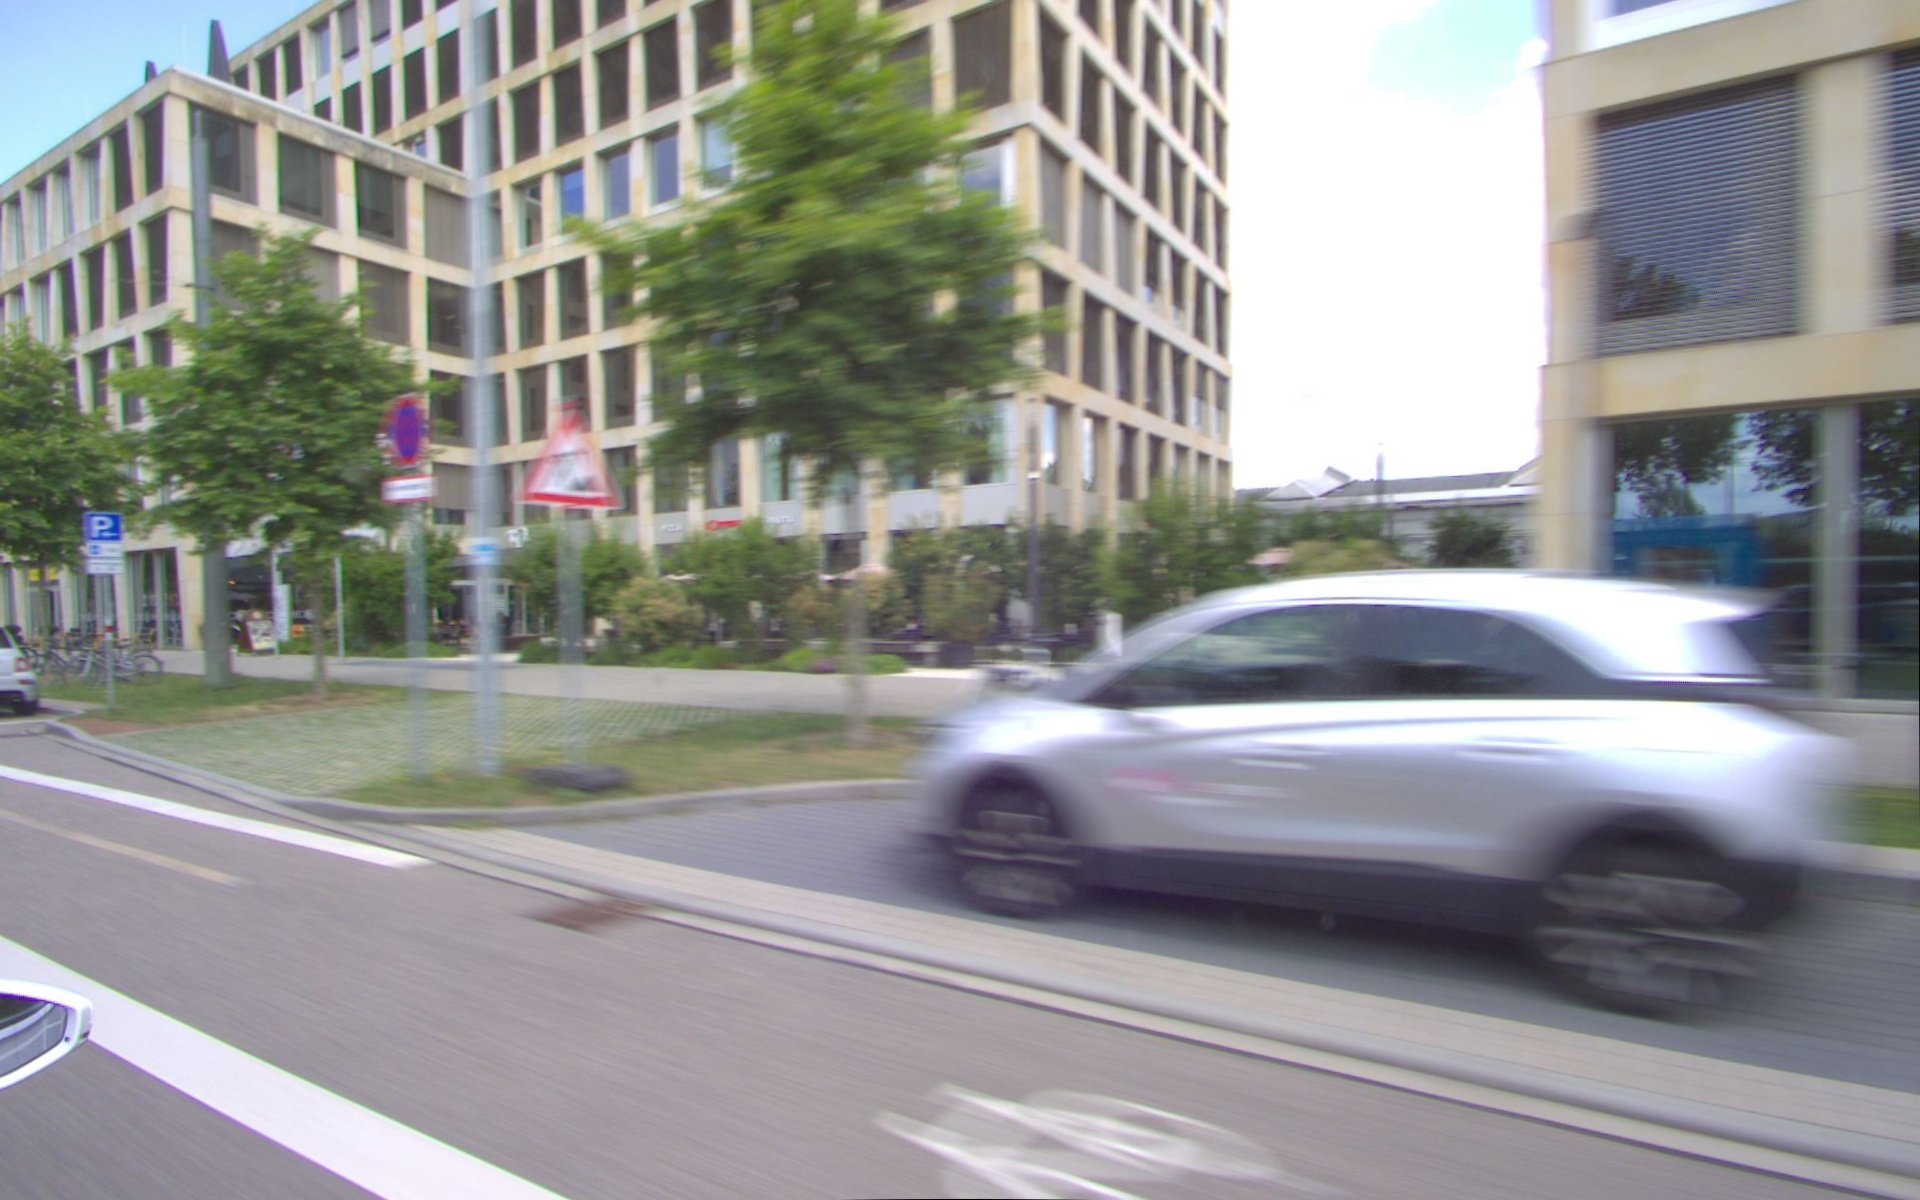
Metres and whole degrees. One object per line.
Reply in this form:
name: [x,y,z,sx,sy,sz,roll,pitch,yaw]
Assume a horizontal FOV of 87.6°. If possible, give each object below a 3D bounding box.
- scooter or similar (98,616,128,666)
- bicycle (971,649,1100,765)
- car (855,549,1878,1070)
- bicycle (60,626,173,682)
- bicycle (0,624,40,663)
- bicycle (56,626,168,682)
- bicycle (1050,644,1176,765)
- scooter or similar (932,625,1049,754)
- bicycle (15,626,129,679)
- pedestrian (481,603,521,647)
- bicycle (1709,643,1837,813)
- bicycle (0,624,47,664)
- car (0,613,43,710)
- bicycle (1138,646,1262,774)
scooter or similar: [-21.214,1.014,25.079,1.000,1.232,0.258,0,1,32]
bicycle: [0.744,0.979,9.503,0.498,0.929,1.491,-3,-1,34]
car: [1.596,0.649,4.883,3.931,1.656,1.682,0,3,30]
bicycle: [-18.035,1.128,21.444,0.271,1.090,1.817,0,1,35]
bicycle: [-25.271,1.157,26.185,0.321,0.999,1.749,0,1,31]
bicycle: [-18.276,1.144,21.623,0.271,1.090,1.817,0,1,35]
bicycle: [1.420,0.913,9.110,0.498,0.929,1.491,-3,-1,34]
scooter or similar: [0.320,0.855,10.019,0.709,1.190,1.048,0,0,36]
bicycle: [-20.161,1.160,22.759,0.677,1.090,1.817,0,1,36]
pedestrian: [-15.054,0.823,32.850,0.855,1.381,0.773,0,3,32]
bicycle: [5.367,0.797,6.666,0.498,0.929,1.491,-3,-1,34]
bicycle: [-24.968,1.153,26.036,0.321,0.999,1.749,0,1,31]
car: [-16.369,0.952,16.105,3.562,1.479,1.588,0,0,34]
bicycle: [2.100,0.912,8.647,0.498,0.928,1.491,-4,-1,34]
